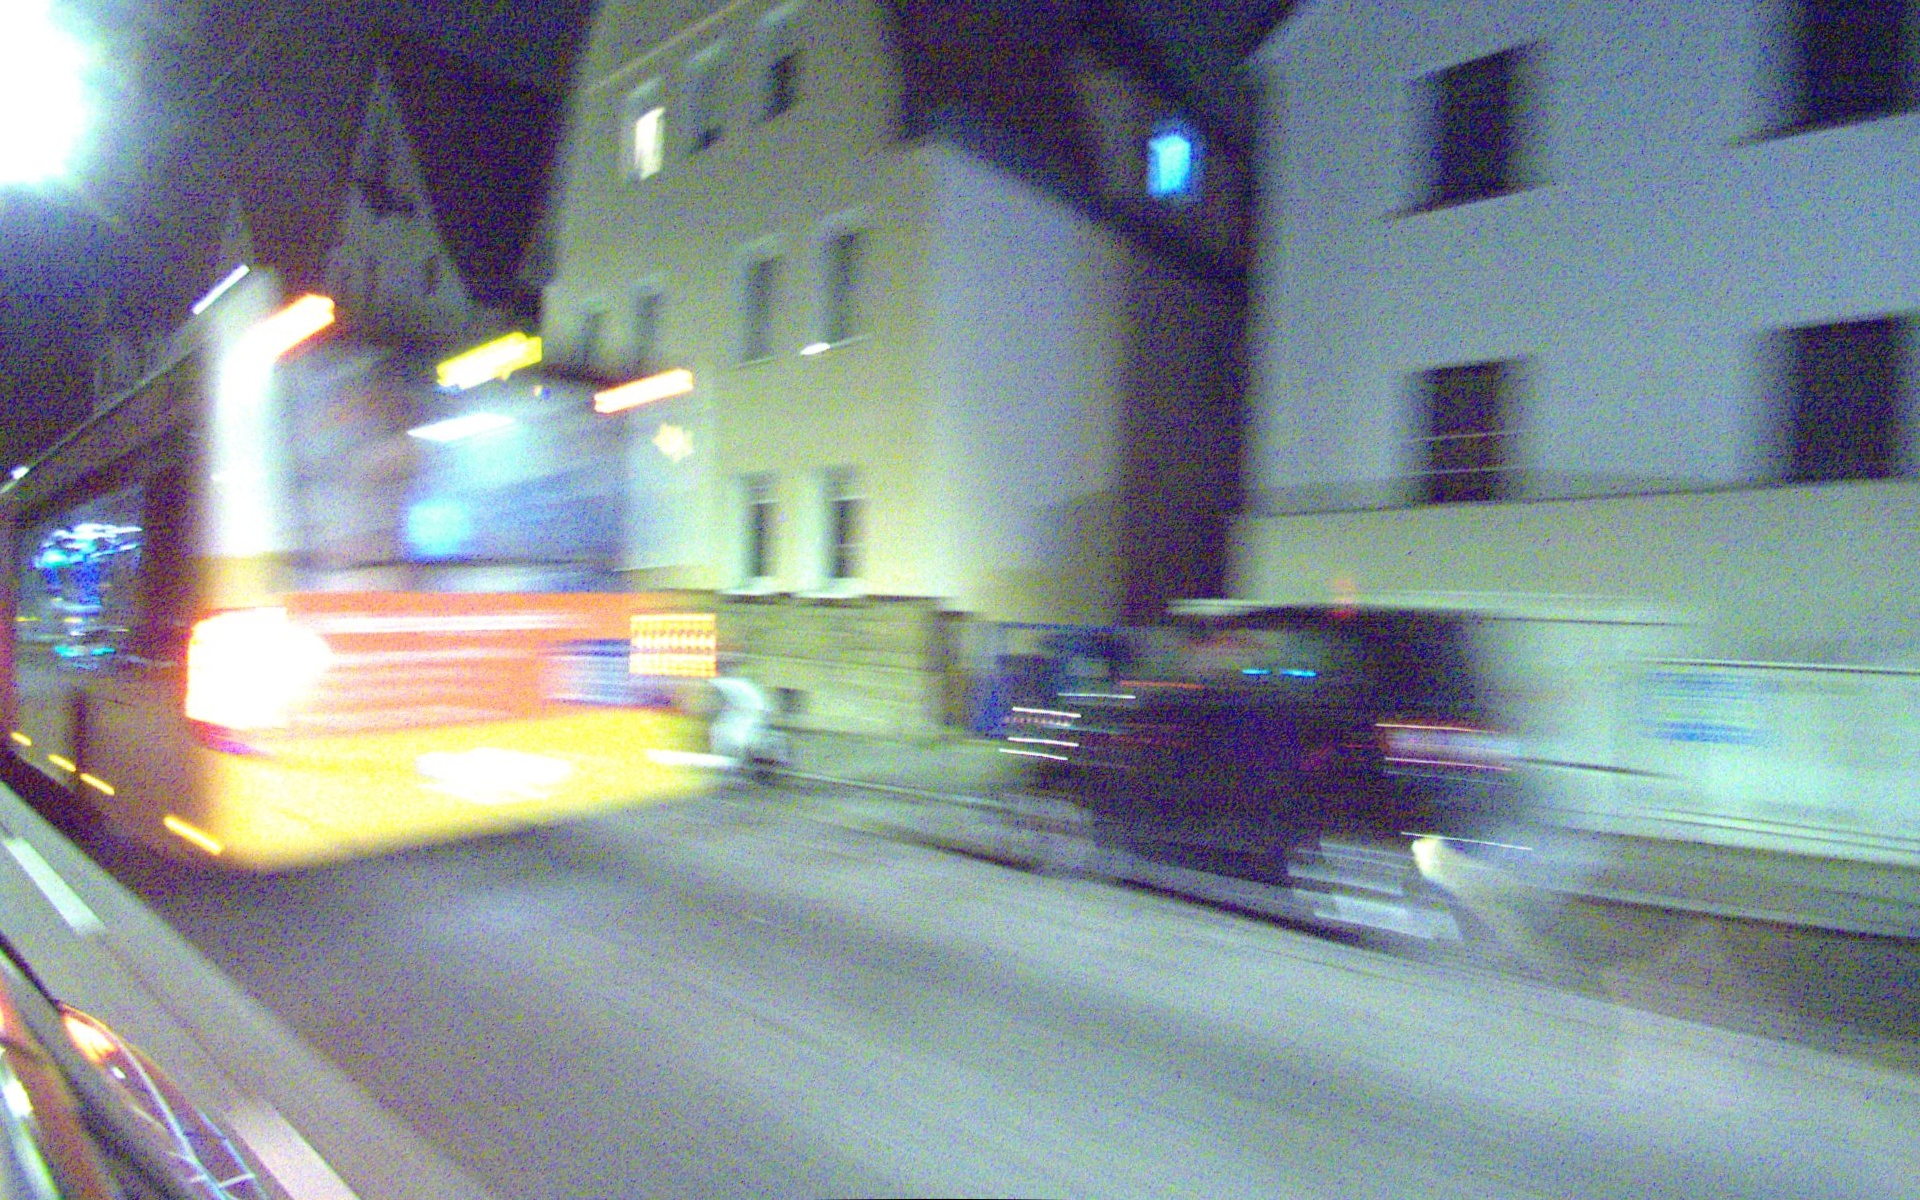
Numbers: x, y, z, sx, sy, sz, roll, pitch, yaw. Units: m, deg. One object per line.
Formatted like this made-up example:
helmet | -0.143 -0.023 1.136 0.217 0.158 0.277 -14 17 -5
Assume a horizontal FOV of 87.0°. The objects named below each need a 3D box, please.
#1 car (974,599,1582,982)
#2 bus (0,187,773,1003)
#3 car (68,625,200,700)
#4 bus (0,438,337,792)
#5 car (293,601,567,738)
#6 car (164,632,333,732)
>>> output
car | 1.638 0.759 5.535 2.765 1.509 1.621 0 -1 43
bus | -4.927 0.041 7.583 7.657 3.201 2.808 -2 -1 42
car | -20.390 1.463 24.905 4.543 1.631 1.816 -1 0 42
bus | -11.776 0.230 13.620 10.493 3.201 2.808 -2 -1 41
car | -6.989 0.833 13.170 4.225 1.503 1.686 -2 -3 40
car | -12.898 1.391 18.283 3.778 1.503 1.605 0 0 40
